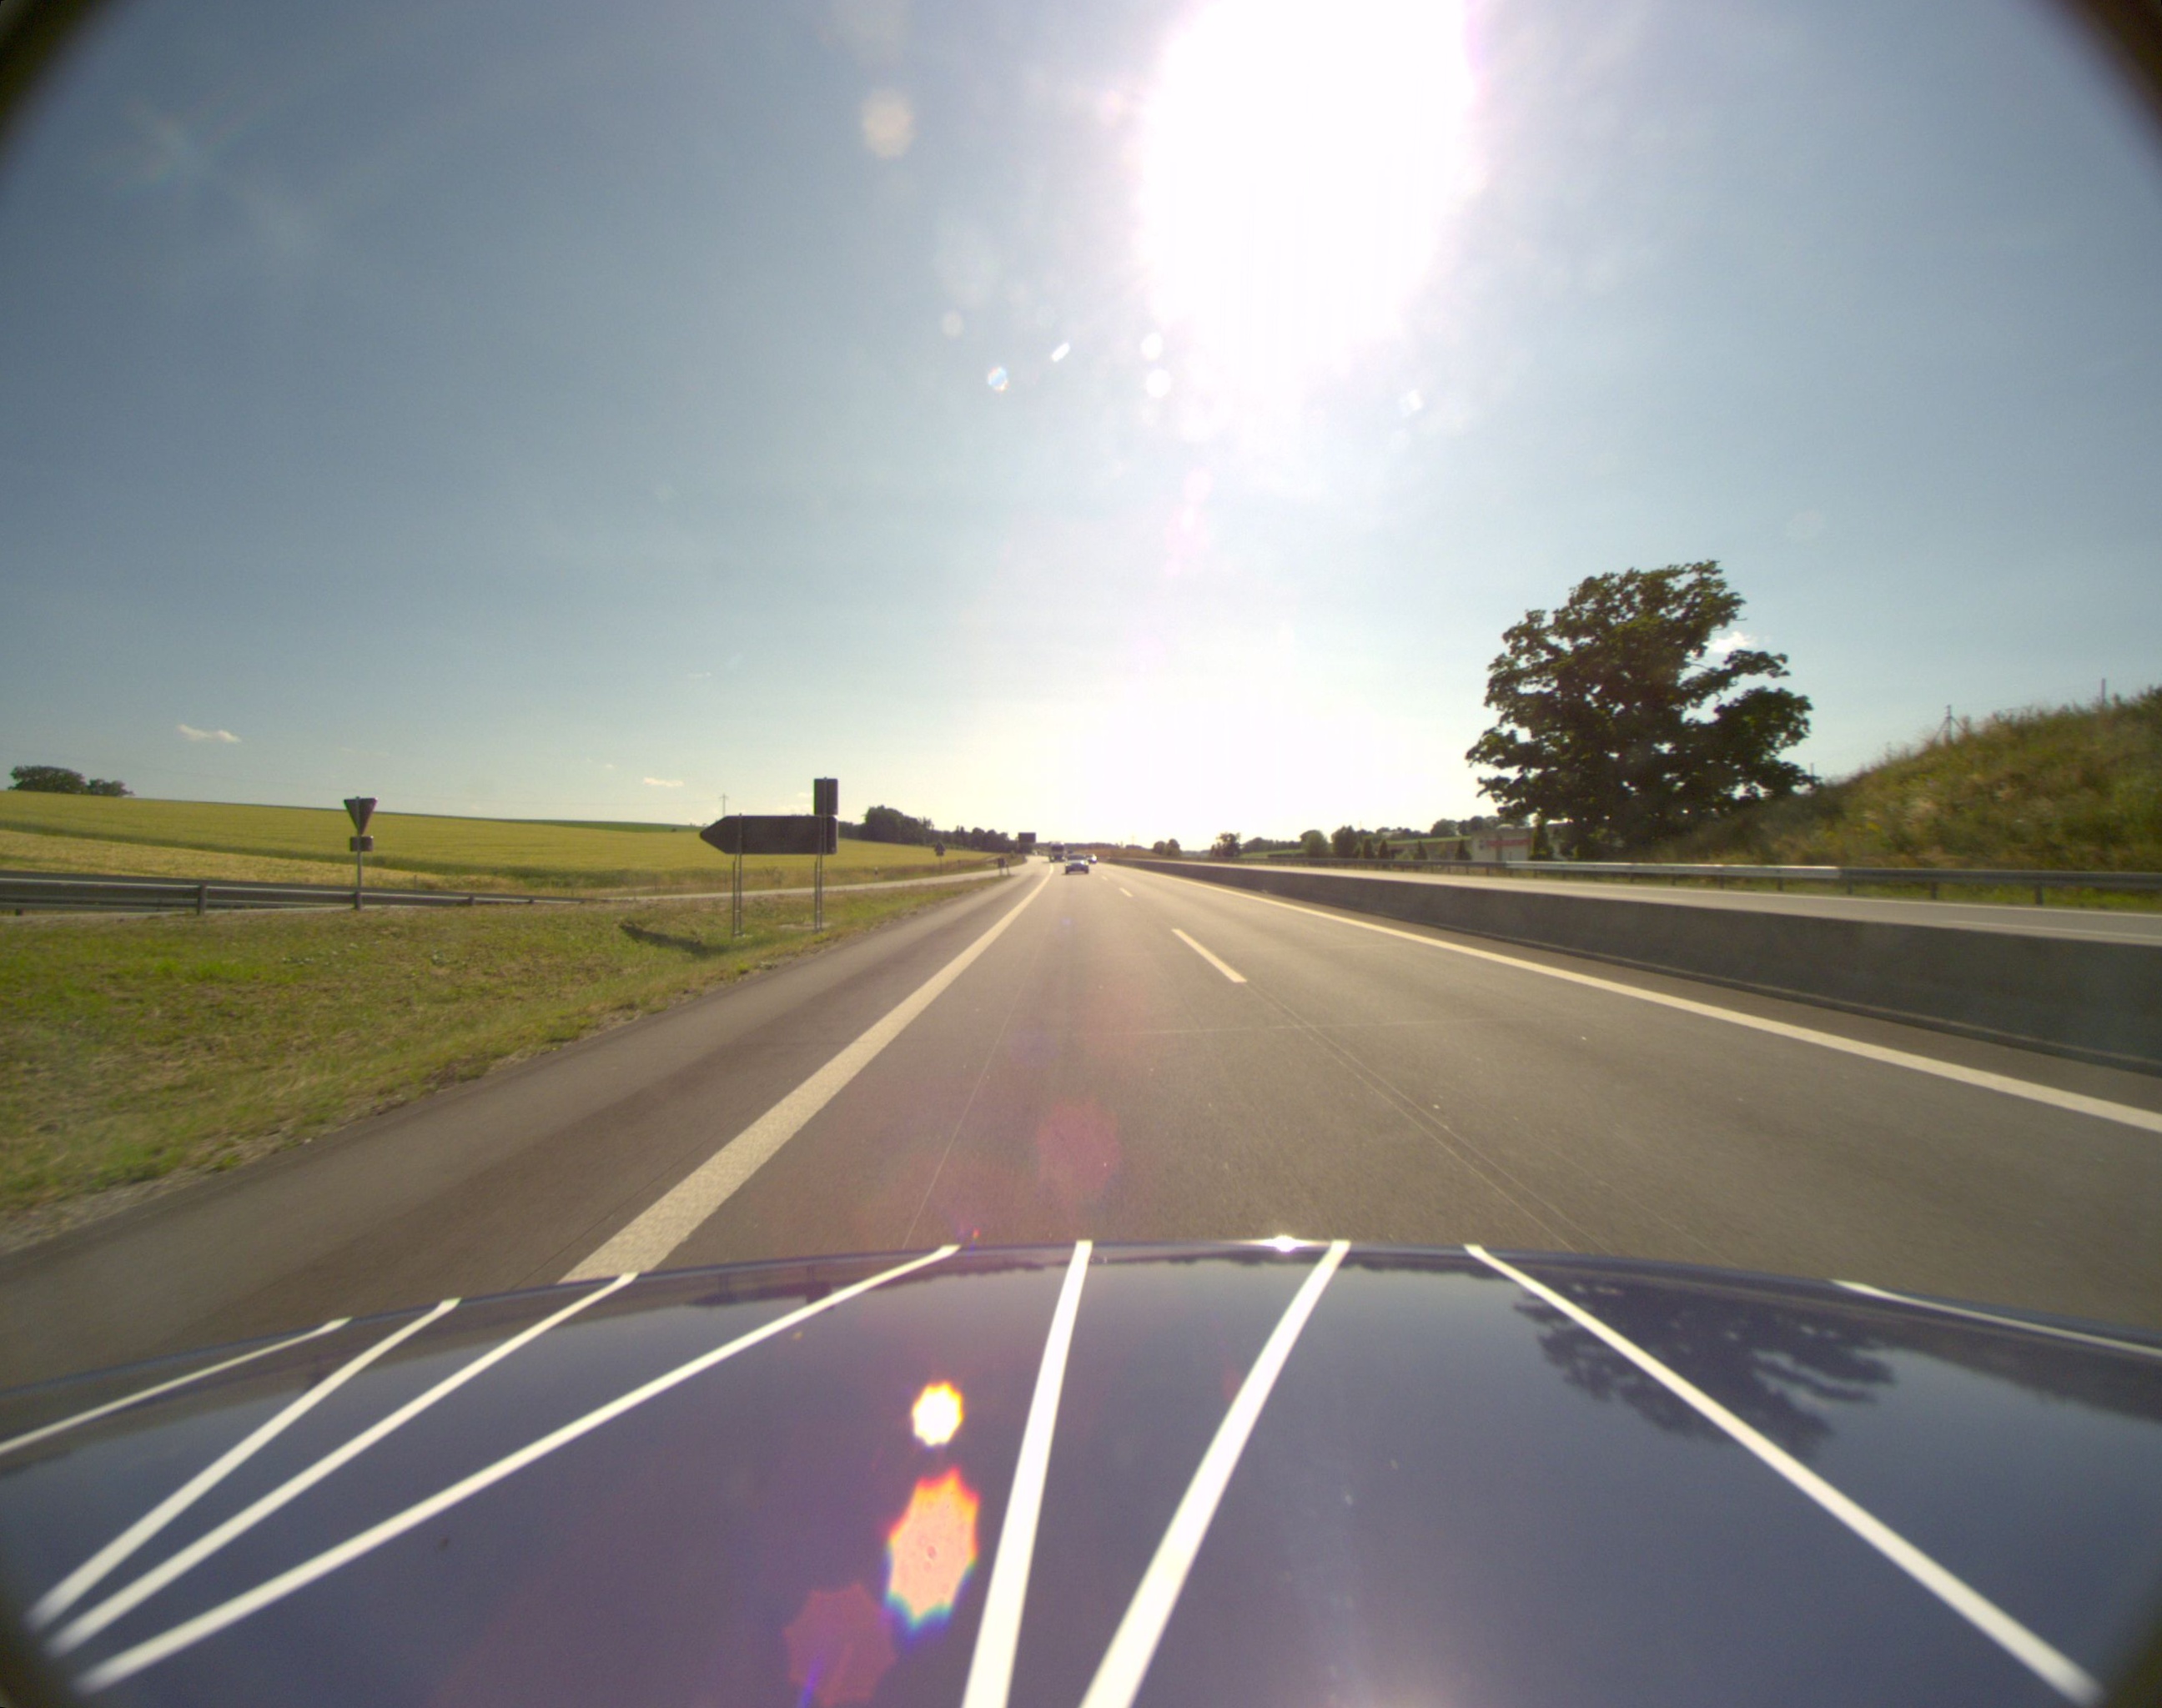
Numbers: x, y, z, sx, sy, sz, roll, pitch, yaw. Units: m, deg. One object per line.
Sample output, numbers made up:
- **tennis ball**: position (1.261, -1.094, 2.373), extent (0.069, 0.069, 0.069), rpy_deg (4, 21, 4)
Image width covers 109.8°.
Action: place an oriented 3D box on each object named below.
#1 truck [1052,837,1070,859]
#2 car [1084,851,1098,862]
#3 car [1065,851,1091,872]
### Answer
- **truck**: position (-3.840, -1.127, 142.825), extent (3.091, 3.991, 6.186), rpy_deg (0, 0, -4)
- **car**: position (1.486, 0.333, 113.701), extent (1.900, 1.560, 3.999), rpy_deg (-1, 0, 0)
- **car**: position (-0.195, 0.561, 59.973), extent (1.891, 1.565, 3.792), rpy_deg (-1, 0, 1)
